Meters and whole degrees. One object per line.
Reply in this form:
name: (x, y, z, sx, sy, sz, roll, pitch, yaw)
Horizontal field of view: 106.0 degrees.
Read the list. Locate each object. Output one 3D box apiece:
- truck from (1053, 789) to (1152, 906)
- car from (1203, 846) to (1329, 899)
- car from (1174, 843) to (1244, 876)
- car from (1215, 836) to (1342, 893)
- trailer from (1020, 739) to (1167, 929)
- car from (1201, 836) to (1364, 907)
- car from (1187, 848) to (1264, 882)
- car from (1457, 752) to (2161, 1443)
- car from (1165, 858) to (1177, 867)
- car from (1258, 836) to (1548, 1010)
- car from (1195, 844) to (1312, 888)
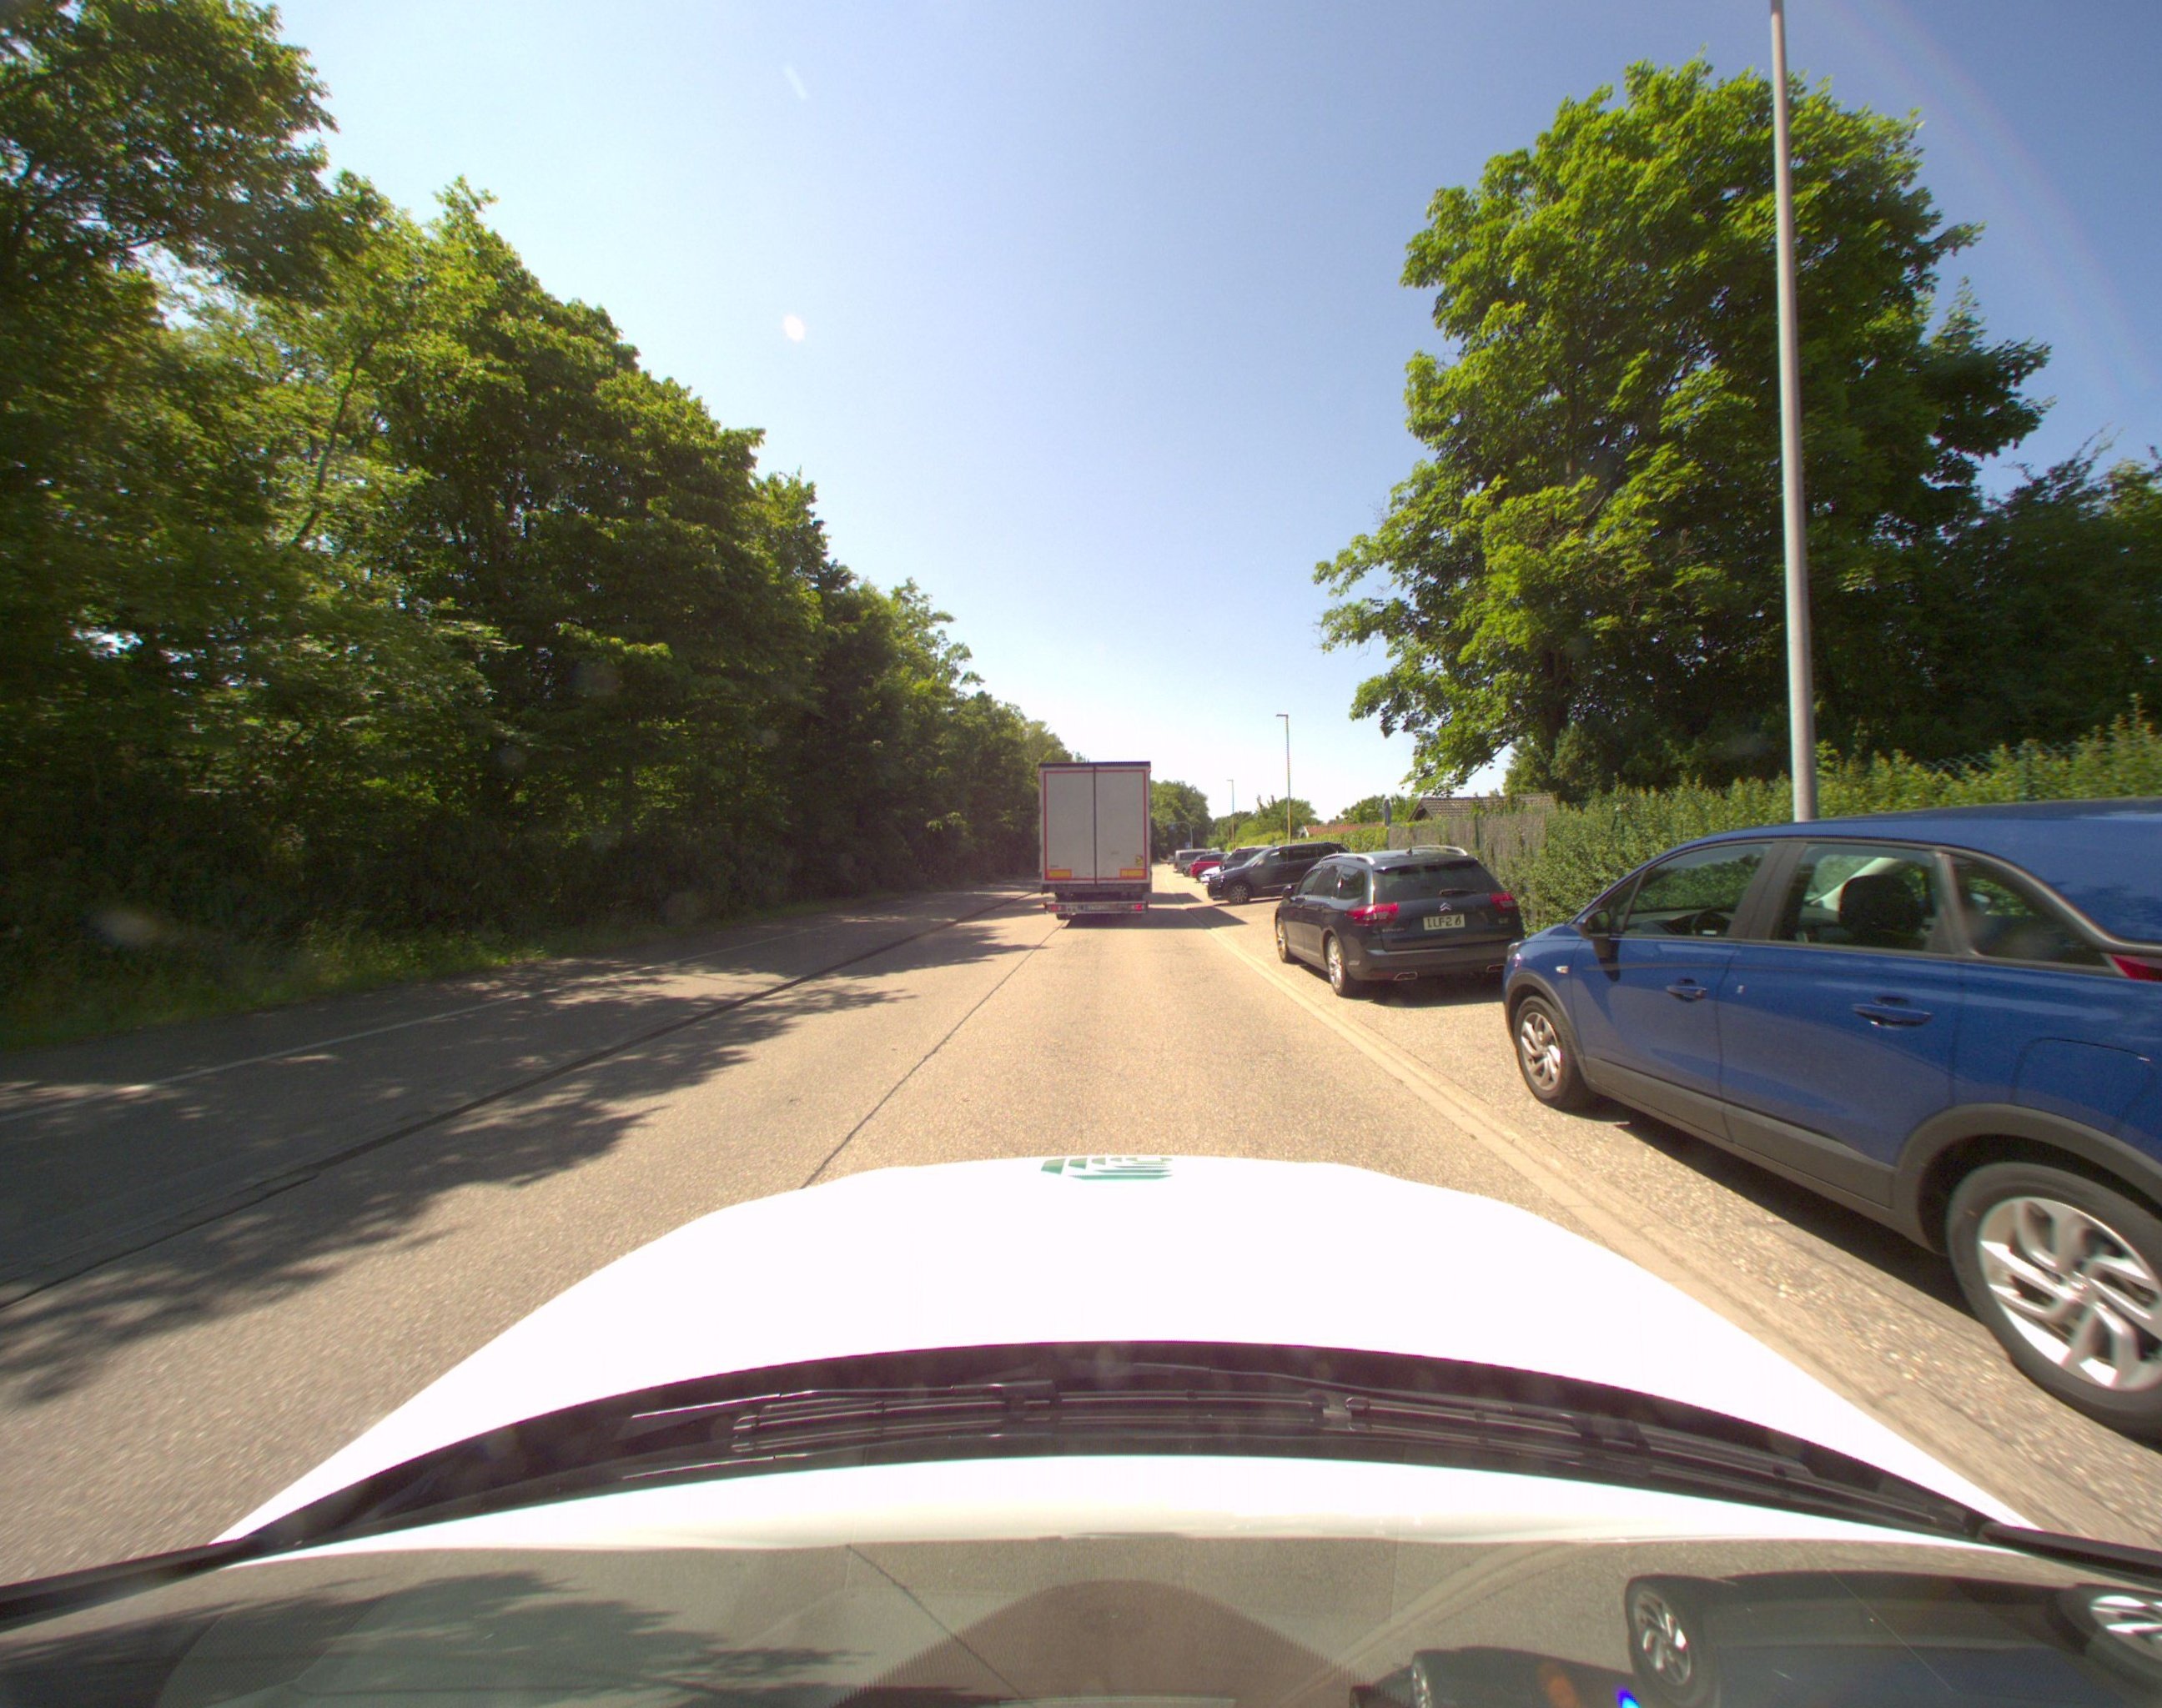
truck: (0.883, -0.215, 30.327, 3.101, 3.725, 6.419, -3, 0, 3)
car: (6.228, 0.603, 27.798, 3.974, 1.452, 1.836, -5, 0, 8)
car: (8.793, 0.364, 56.247, 4.598, 1.848, 1.999, -5, 0, 6)
car: (7.242, 0.371, 30.174, 4.237, 1.698, 1.856, -5, 0, 5)
trailer: (0.548, -0.424, 23.947, 3.100, 4.102, 11.544, -3, 0, 3)
car: (6.086, 0.510, 25.045, 4.453, 1.704, 1.915, -5, 0, 2)
car: (7.828, 0.605, 44.500, 3.900, 1.478, 1.848, -5, 0, 5)
car: (3.435, 0.512, 3.528, 1.782, 1.603, 4.132, -3, 0, 2)
car: (14.332, 1.348, 129.447, 1.771, 1.486, 4.008, -1, 0, 7)
car: (3.529, 0.649, 9.977, 1.782, 1.482, 4.668, -5, 0, 3)
car: (7.361, 0.512, 35.072, 4.542, 1.439, 1.962, -5, 0, 1)
